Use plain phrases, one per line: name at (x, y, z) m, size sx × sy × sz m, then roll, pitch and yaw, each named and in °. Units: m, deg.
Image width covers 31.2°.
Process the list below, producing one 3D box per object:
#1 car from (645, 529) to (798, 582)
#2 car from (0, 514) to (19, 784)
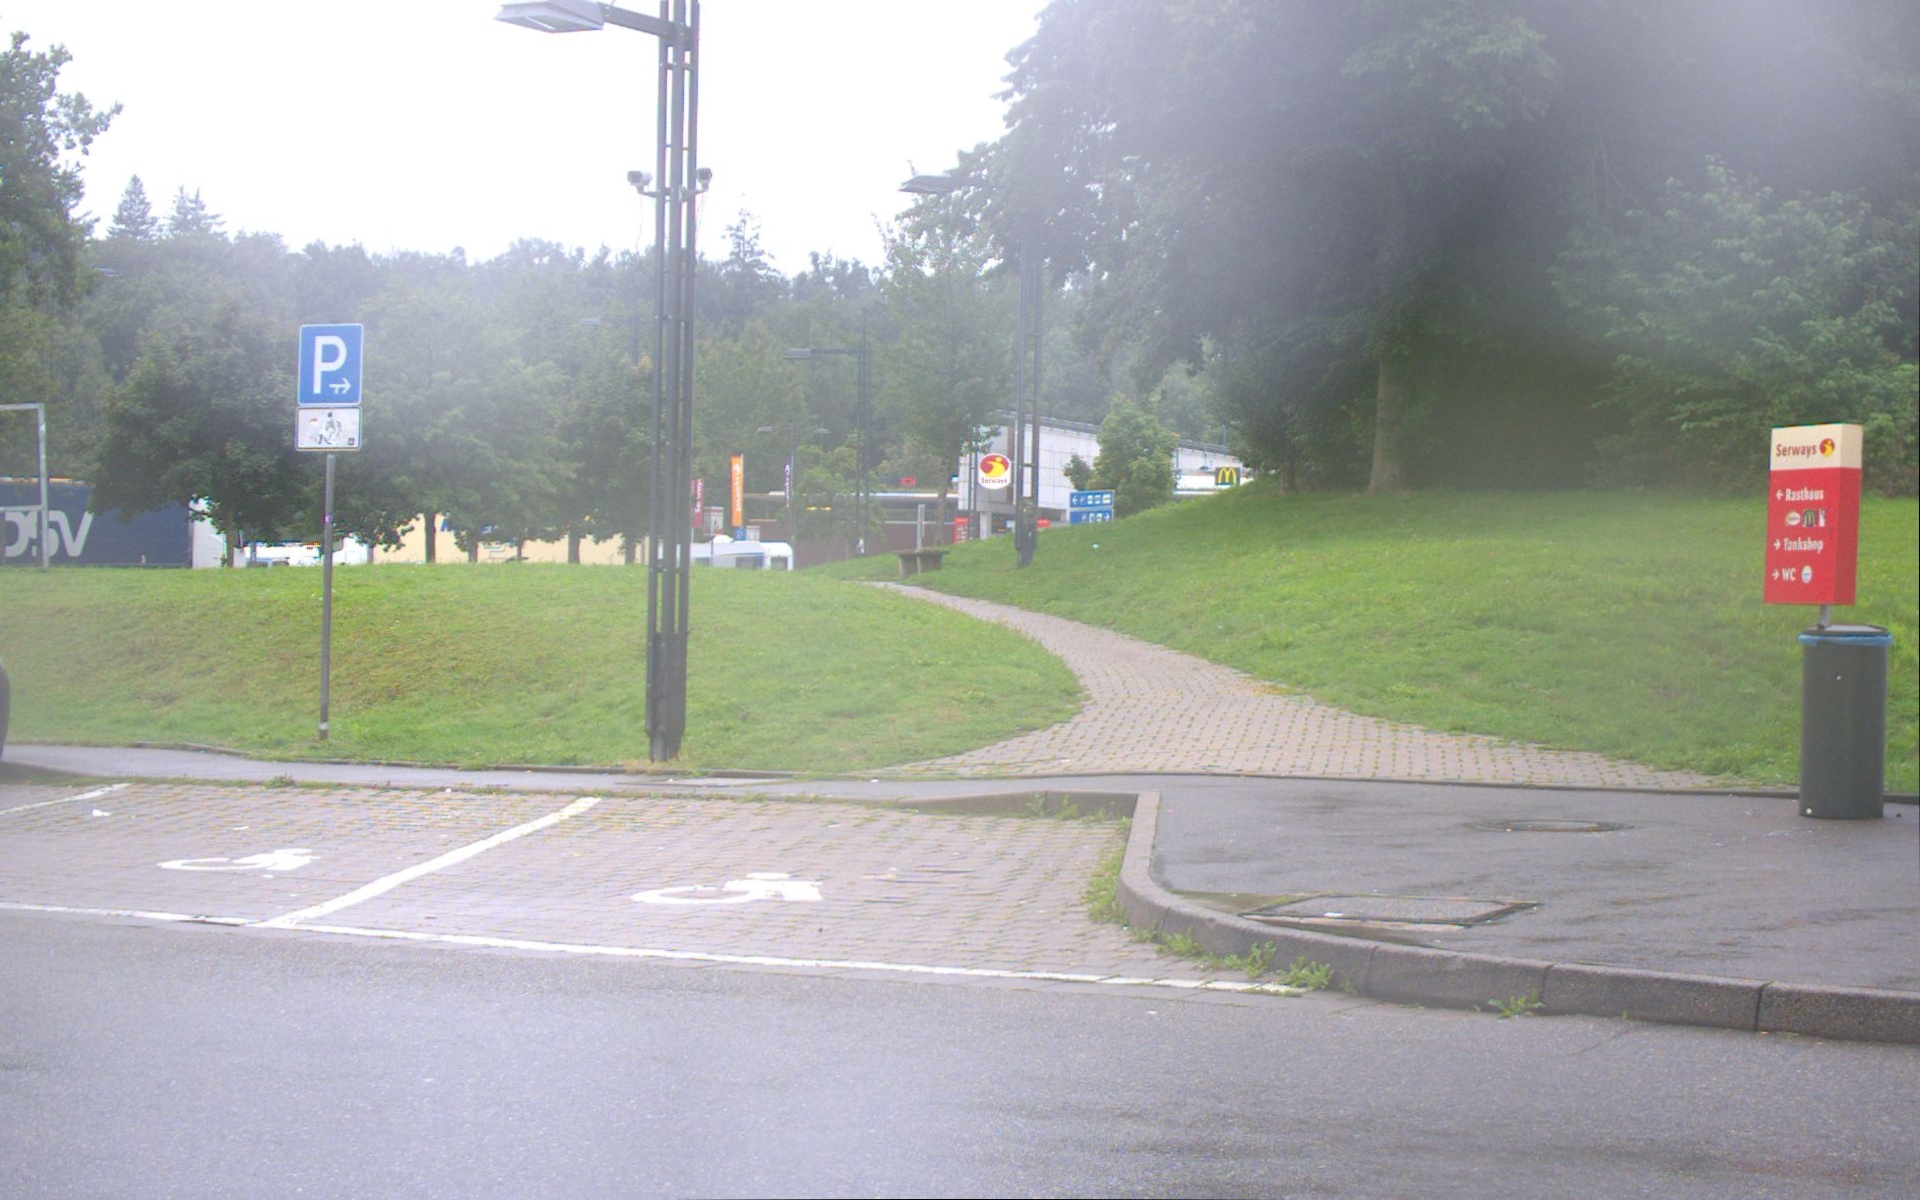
car at (-9.271, -1.748, 133.778) m, size 5.429 × 2.007 × 2.453 m, roll 1°, pitch 1°, yaw 20°
car at (-7.770, 0.368, 21.450) m, size 1.885 × 1.821 × 4.411 m, roll 0°, pitch 1°, yaw 11°
